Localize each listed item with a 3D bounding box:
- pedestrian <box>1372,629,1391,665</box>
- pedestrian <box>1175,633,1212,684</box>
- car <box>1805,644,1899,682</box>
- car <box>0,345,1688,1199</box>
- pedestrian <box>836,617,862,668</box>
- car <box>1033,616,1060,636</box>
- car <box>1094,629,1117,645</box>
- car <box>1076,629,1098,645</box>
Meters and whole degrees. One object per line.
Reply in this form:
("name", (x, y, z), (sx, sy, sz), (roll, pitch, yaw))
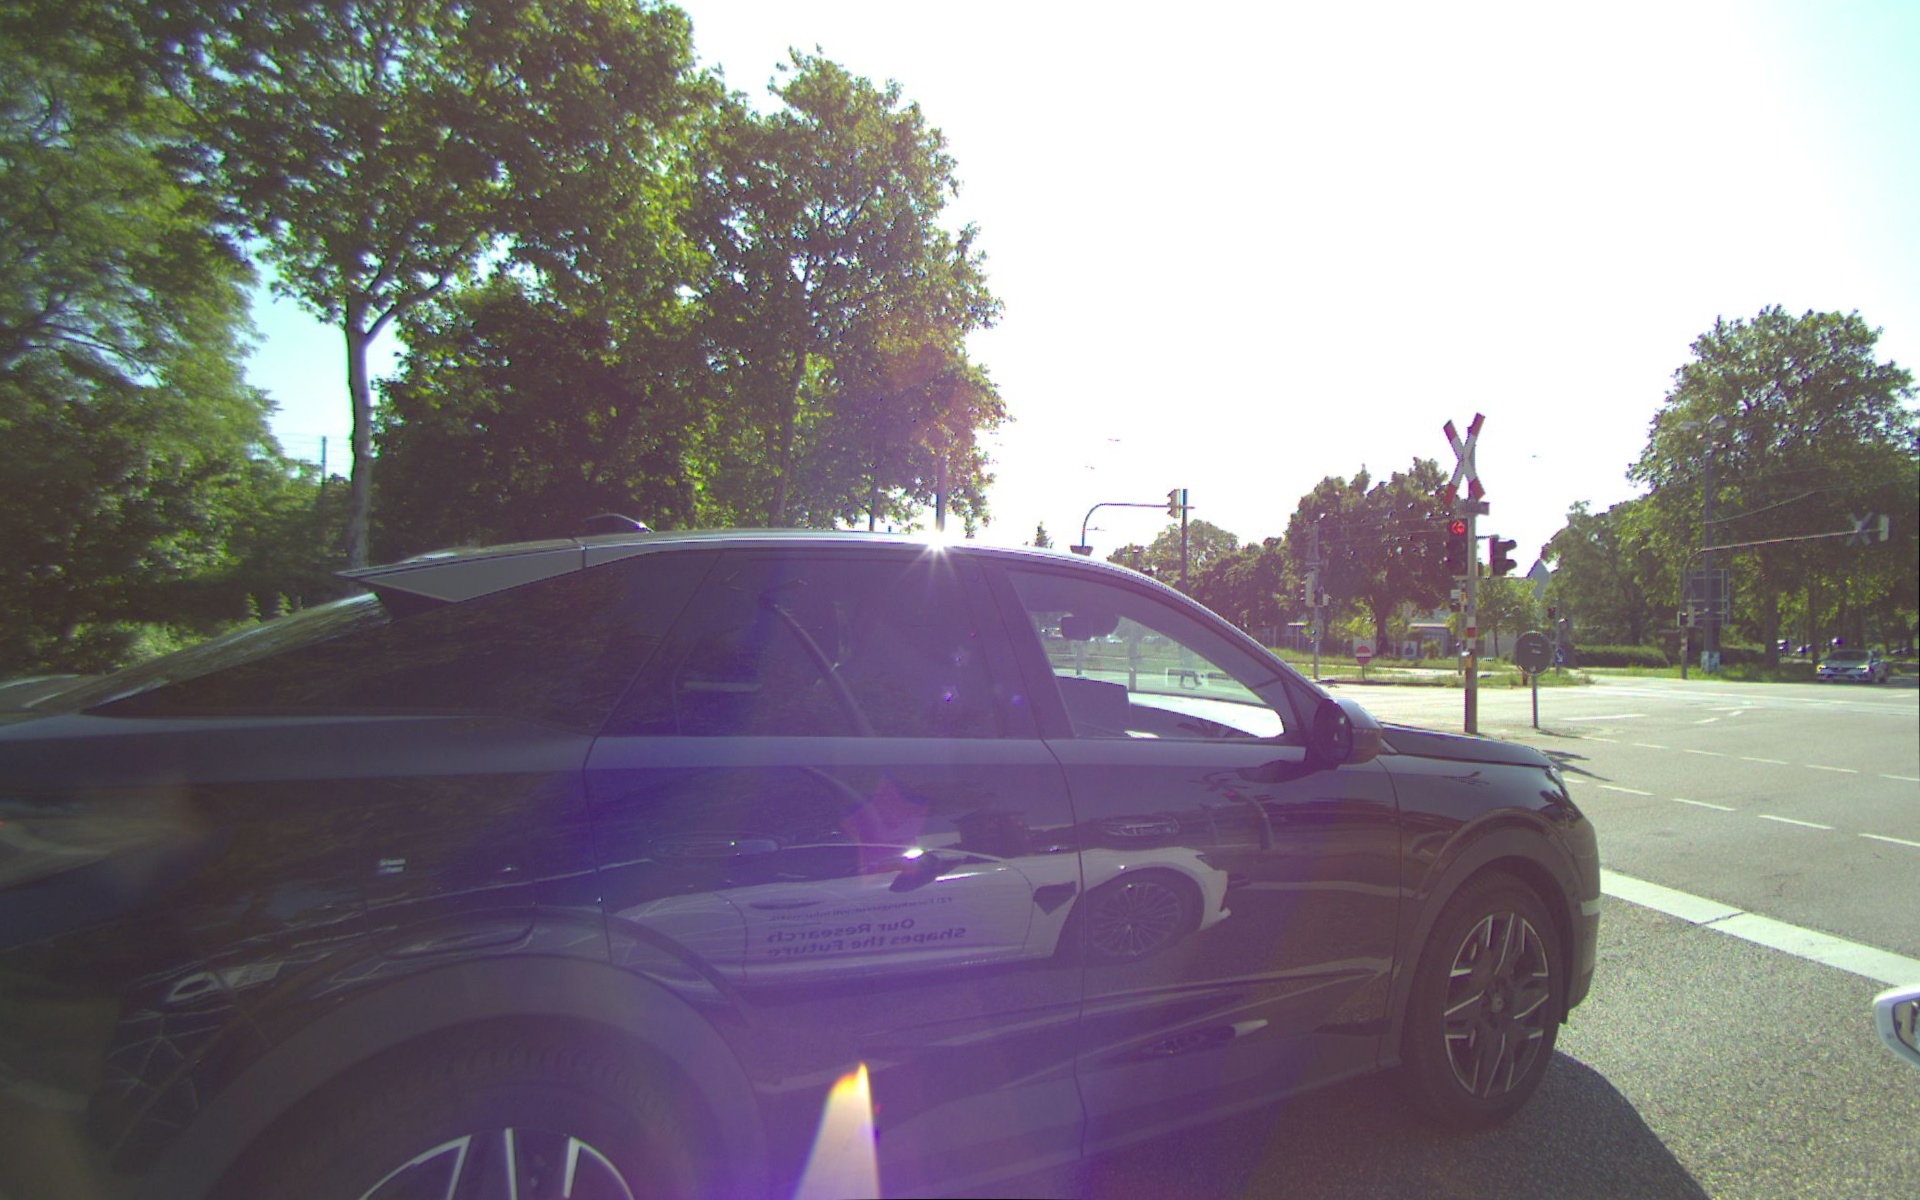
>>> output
("pedestrian", (23.964, 2.648, 57.083), (0.707, 2.040, 0.785), (2, -2, -45))
("pedestrian", (7.112, 1.782, 30.583), (0.859, 1.520, 0.694), (2, -2, -30))
("car", (38.441, 2.692, 43.263), (4.607, 1.528, 1.686), (2, -2, -30))
("car", (-0.021, 0.609, 2.921), (4.384, 1.719, 1.863), (2, -1, -30))
("pedestrian", (-3.435, 1.312, 31.045), (0.563, 1.554, 0.601), (2, -2, -36))
("car", (8.018, 2.417, 93.299), (1.780, 1.725, 3.985), (1, -2, -4))
("car", (13.599, 3.457, 93.726), (1.421, 1.465, 3.340), (1, -2, -4))
("car", (11.819, 3.431, 93.614), (1.323, 1.465, 3.340), (1, -2, -4))
